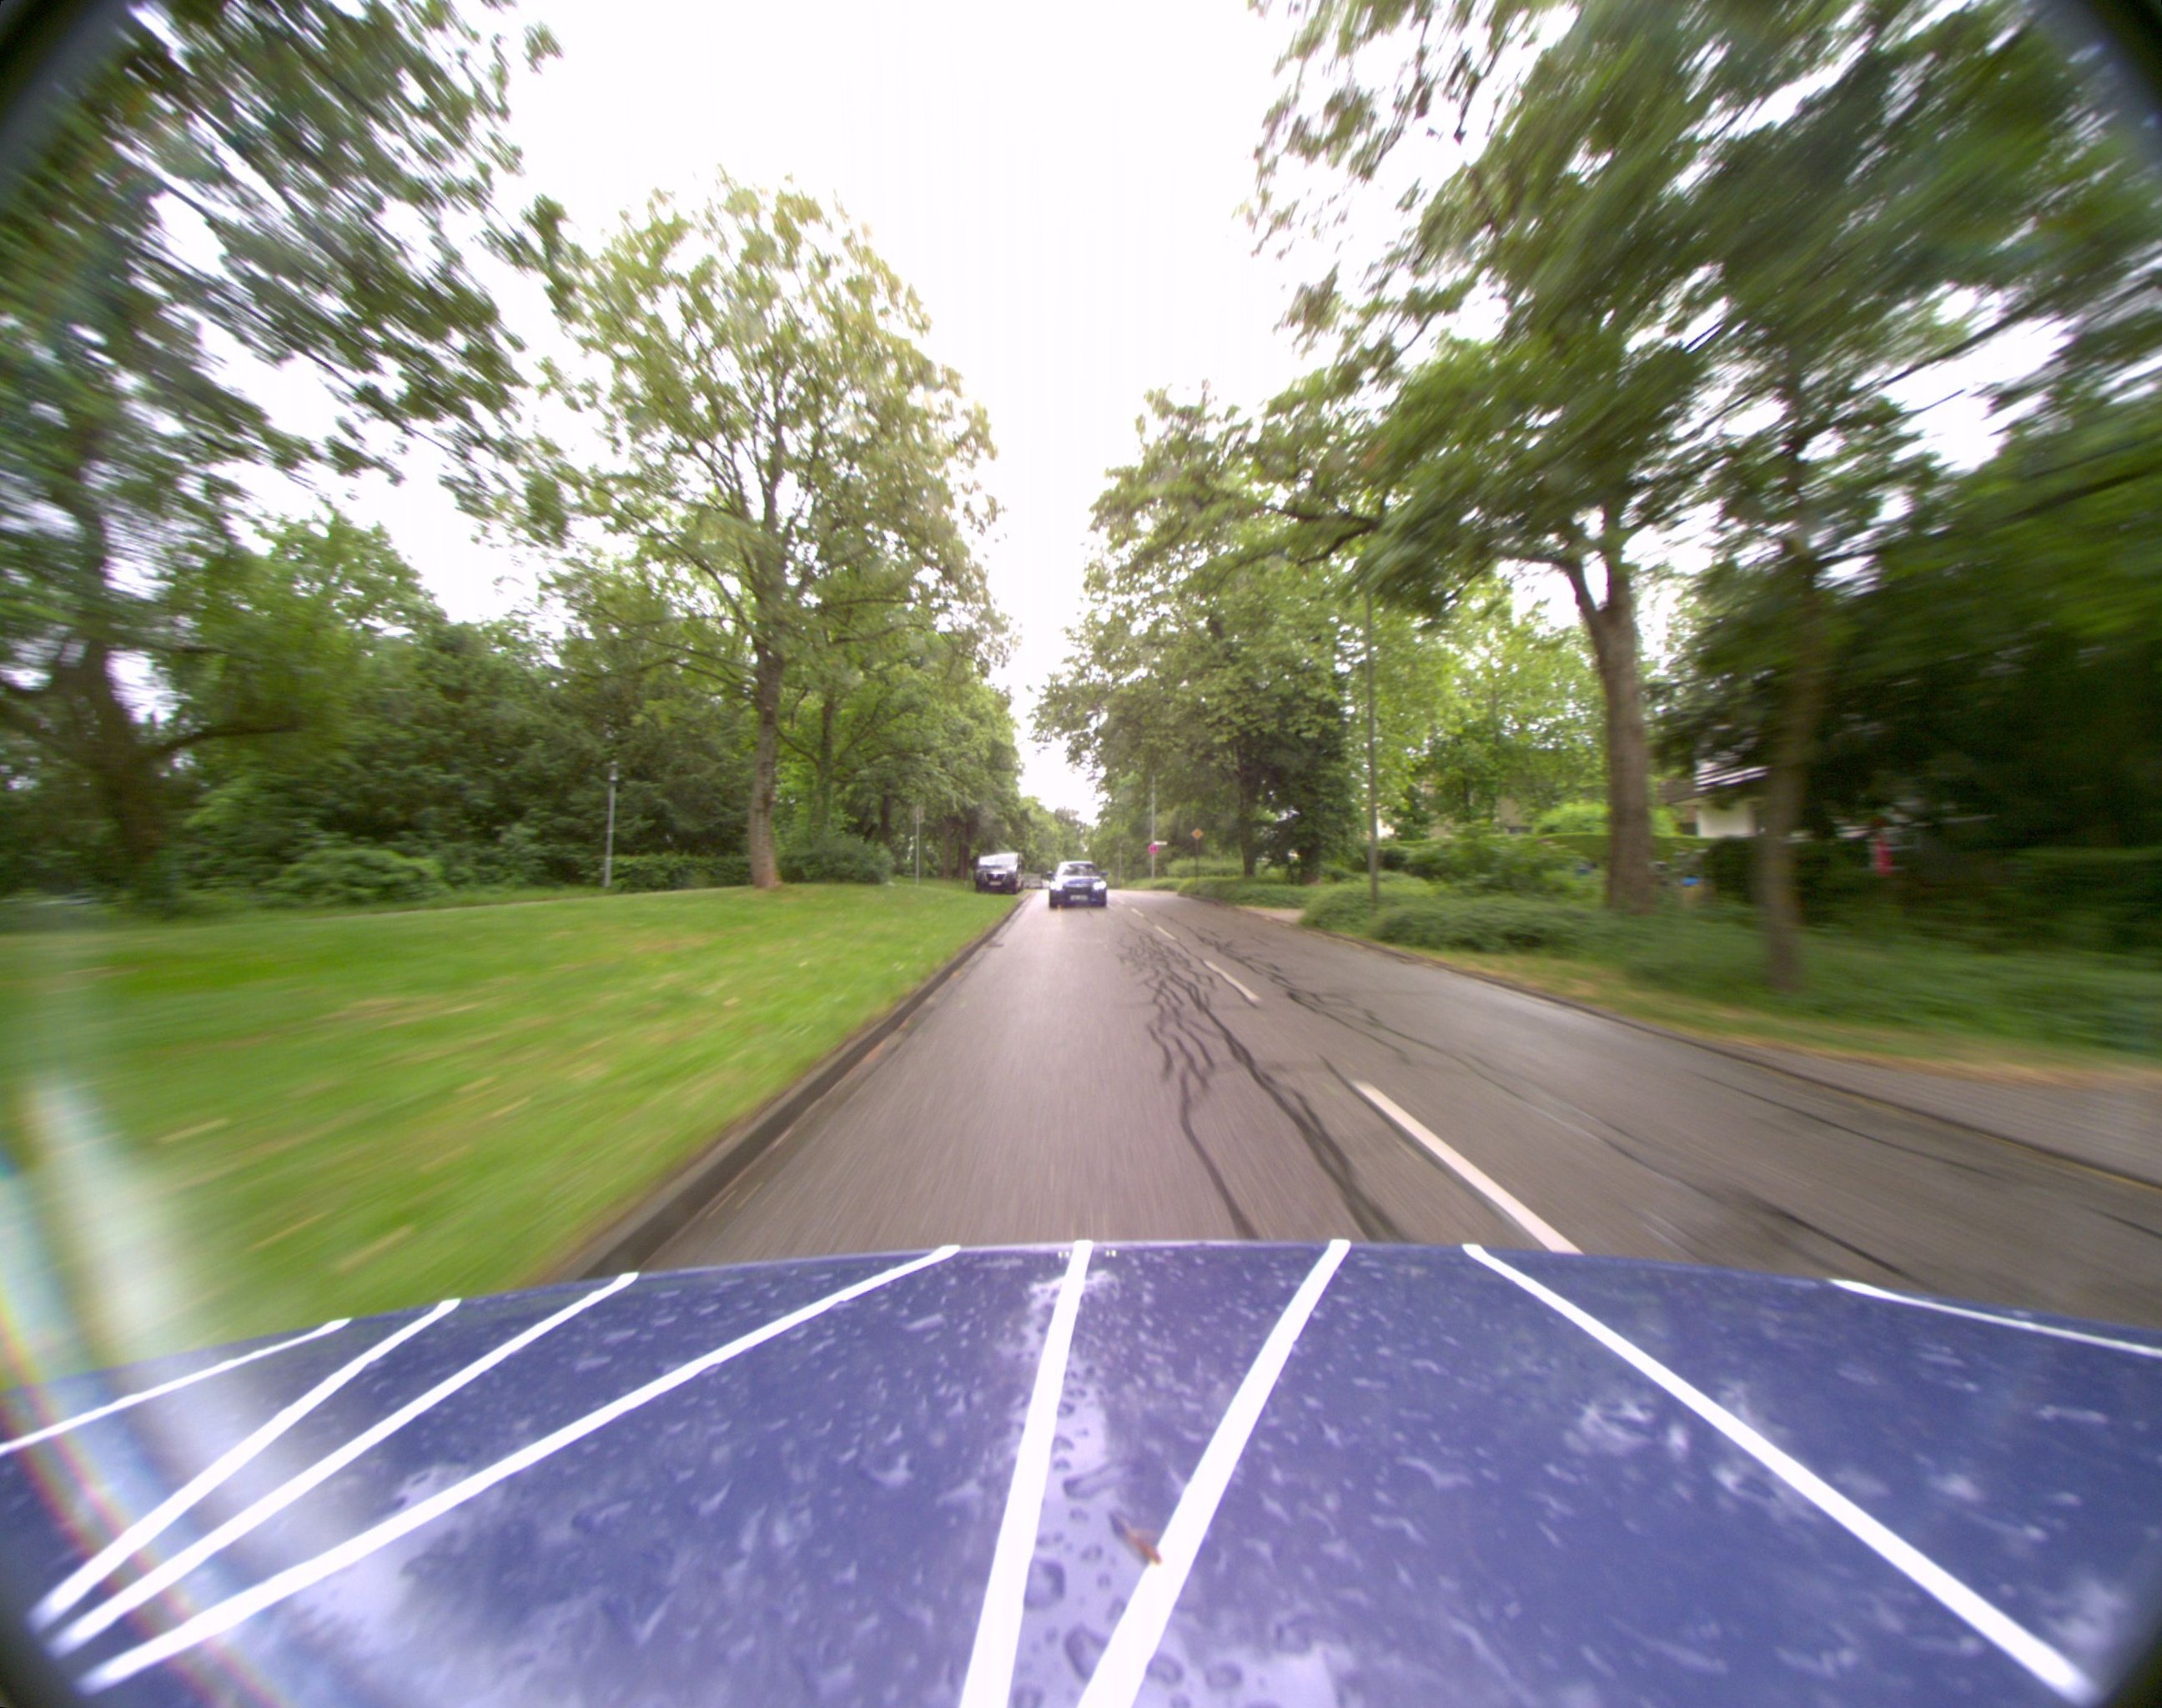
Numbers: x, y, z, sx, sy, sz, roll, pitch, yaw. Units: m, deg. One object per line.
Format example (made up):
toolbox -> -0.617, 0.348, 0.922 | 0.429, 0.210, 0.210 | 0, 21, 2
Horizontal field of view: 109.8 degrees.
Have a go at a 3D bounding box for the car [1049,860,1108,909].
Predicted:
car -> -0.098, 0.964, 25.743 | 1.796, 1.458, 4.510 | -2, 0, -1

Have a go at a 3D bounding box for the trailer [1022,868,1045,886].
trailer -> -4.538, 2.240, 73.127 | 1.999, 1.590, 4.572 | -1, -2, -1

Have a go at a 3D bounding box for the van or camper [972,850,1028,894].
van or camper -> -3.705, 0.829, 35.725 | 1.999, 1.857, 5.665 | 1, -1, -1

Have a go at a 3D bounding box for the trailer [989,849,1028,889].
trailer -> -3.803, 0.787, 40.531 | 1.701, 2.041, 3.951 | 0, -1, -1

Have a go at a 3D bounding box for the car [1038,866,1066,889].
car -> -2.052, 1.672, 52.935 | 1.796, 1.458, 4.511 | 0, -4, -3
